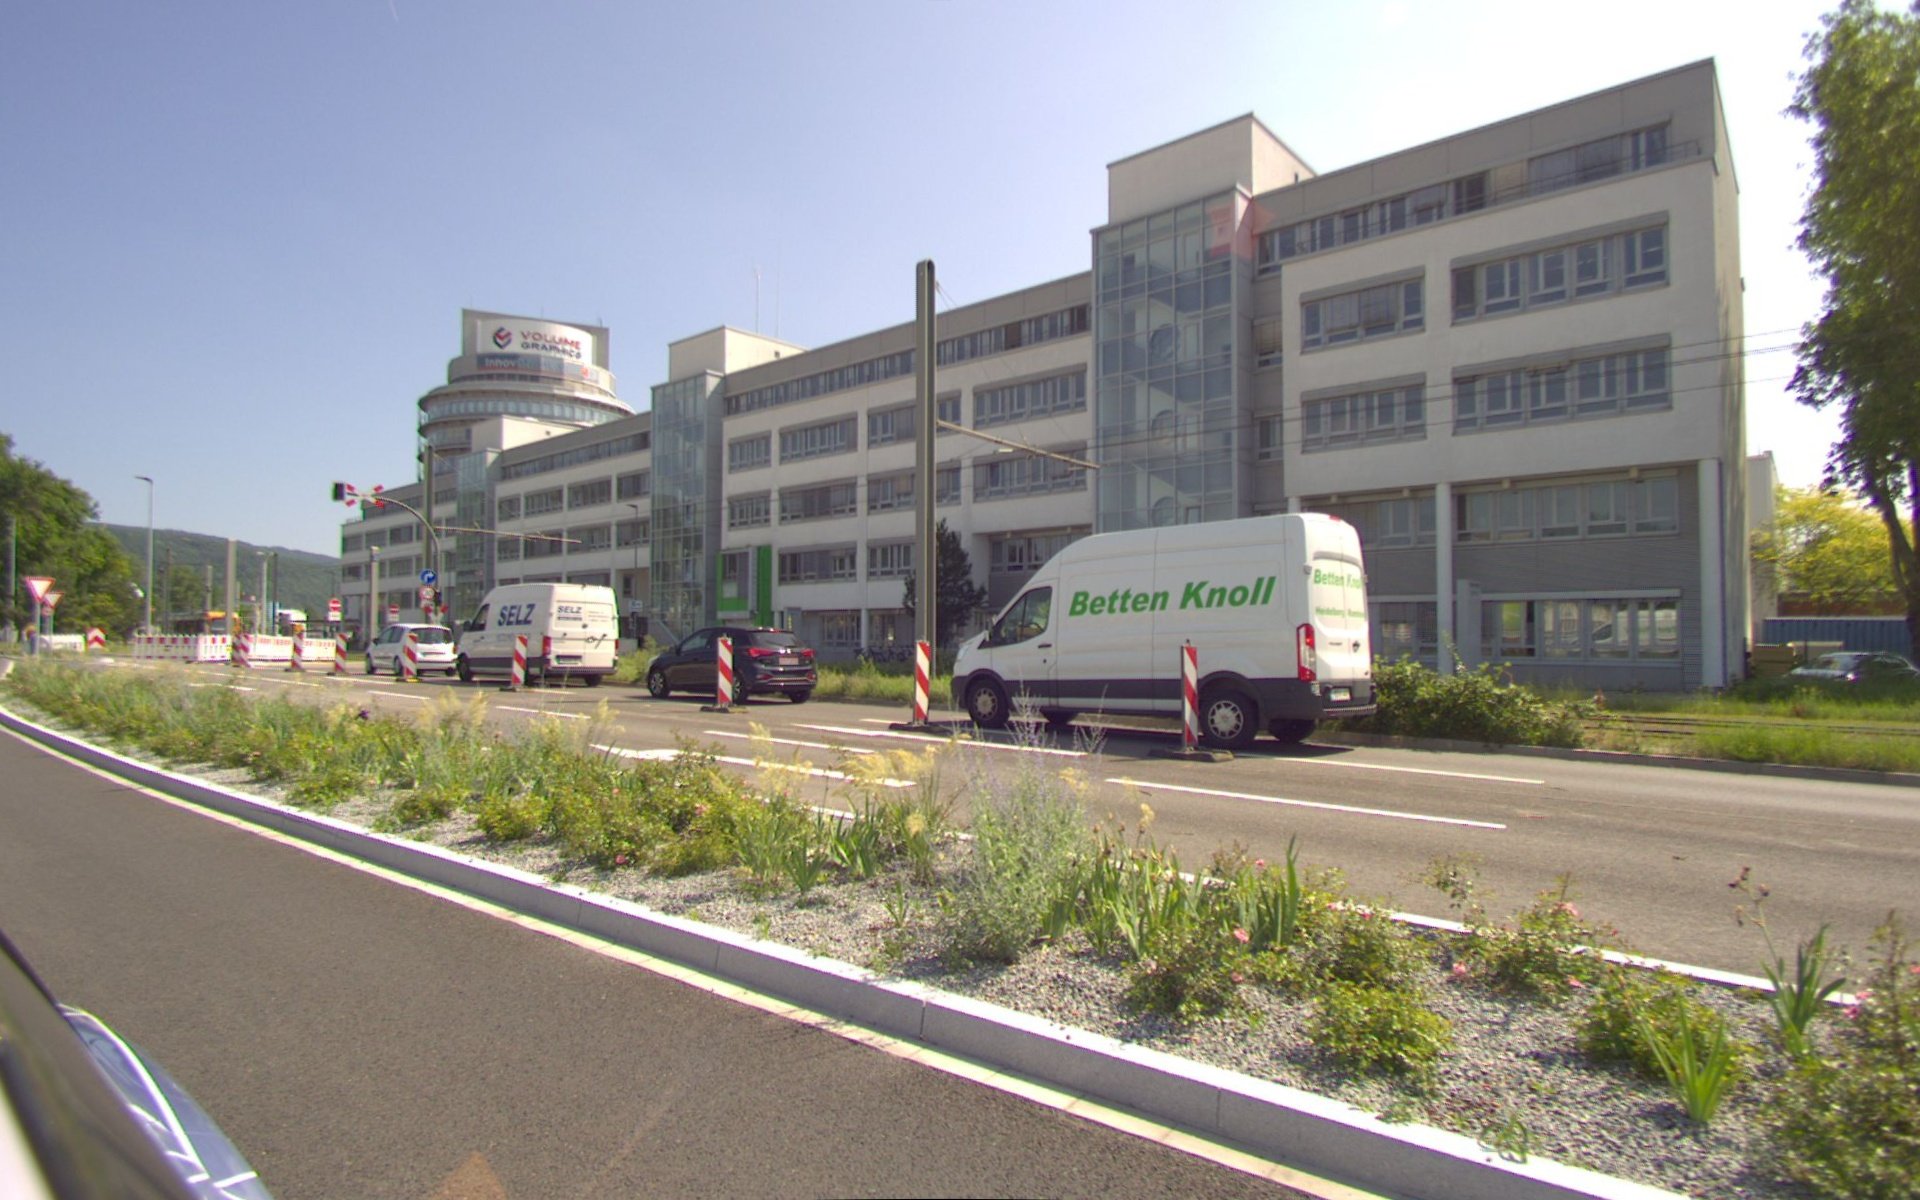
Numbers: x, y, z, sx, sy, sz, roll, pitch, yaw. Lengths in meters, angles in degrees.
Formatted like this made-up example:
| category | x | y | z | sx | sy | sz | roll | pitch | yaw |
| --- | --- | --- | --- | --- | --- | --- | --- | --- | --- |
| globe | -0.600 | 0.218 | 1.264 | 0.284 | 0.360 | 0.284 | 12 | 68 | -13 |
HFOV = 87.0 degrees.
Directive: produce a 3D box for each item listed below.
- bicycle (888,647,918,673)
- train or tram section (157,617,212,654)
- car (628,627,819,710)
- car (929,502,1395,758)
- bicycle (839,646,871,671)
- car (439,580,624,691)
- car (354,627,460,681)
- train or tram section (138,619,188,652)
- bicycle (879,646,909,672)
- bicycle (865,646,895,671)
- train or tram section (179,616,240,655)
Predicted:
| category | x | y | z | sx | sy | sz | roll | pitch | yaw |
| --- | --- | --- | --- | --- | --- | --- | --- | --- | --- |
| bicycle | -2.833 | 2.960 | 50.314 | 0.438 | 1.198 | 1.629 | -3 | -2 | 42 |
| train or tram section | -78.559 | 3.598 | 102.404 | 11.782 | 3.477 | 2.596 | -2 | -1 | 44 |
| car | -4.755 | 1.316 | 20.016 | 4.191 | 1.468 | 1.529 | -2 | -5 | 42 |
| car | 2.454 | 0.447 | 13.697 | 5.986 | 2.761 | 2.054 | -2 | -5 | 43 |
| bicycle | -5.483 | 3.041 | 52.794 | 1.627 | 1.198 | 0.522 | 0 | -2 | -43 |
| car | -11.314 | 0.978 | 26.458 | 6.194 | 2.598 | 2.008 | -2 | -5 | 43 |
| car | -17.007 | 1.651 | 31.040 | 3.977 | 1.553 | 1.563 | -2 | -5 | 42 |
| train or tram section | -87.113 | 3.866 | 110.524 | 11.782 | 3.477 | 2.596 | -2 | -1 | 44 |
| bicycle | -3.325 | 2.950 | 50.903 | 0.438 | 1.198 | 1.628 | -3 | -2 | 43 |
| bicycle | -4.128 | 2.993 | 52.160 | 1.627 | 1.198 | 0.438 | 0 | -2 | -43 |
| train or tram section | -70.015 | 3.294 | 94.281 | 11.782 | 3.477 | 2.596 | -2 | -1 | 44 |
